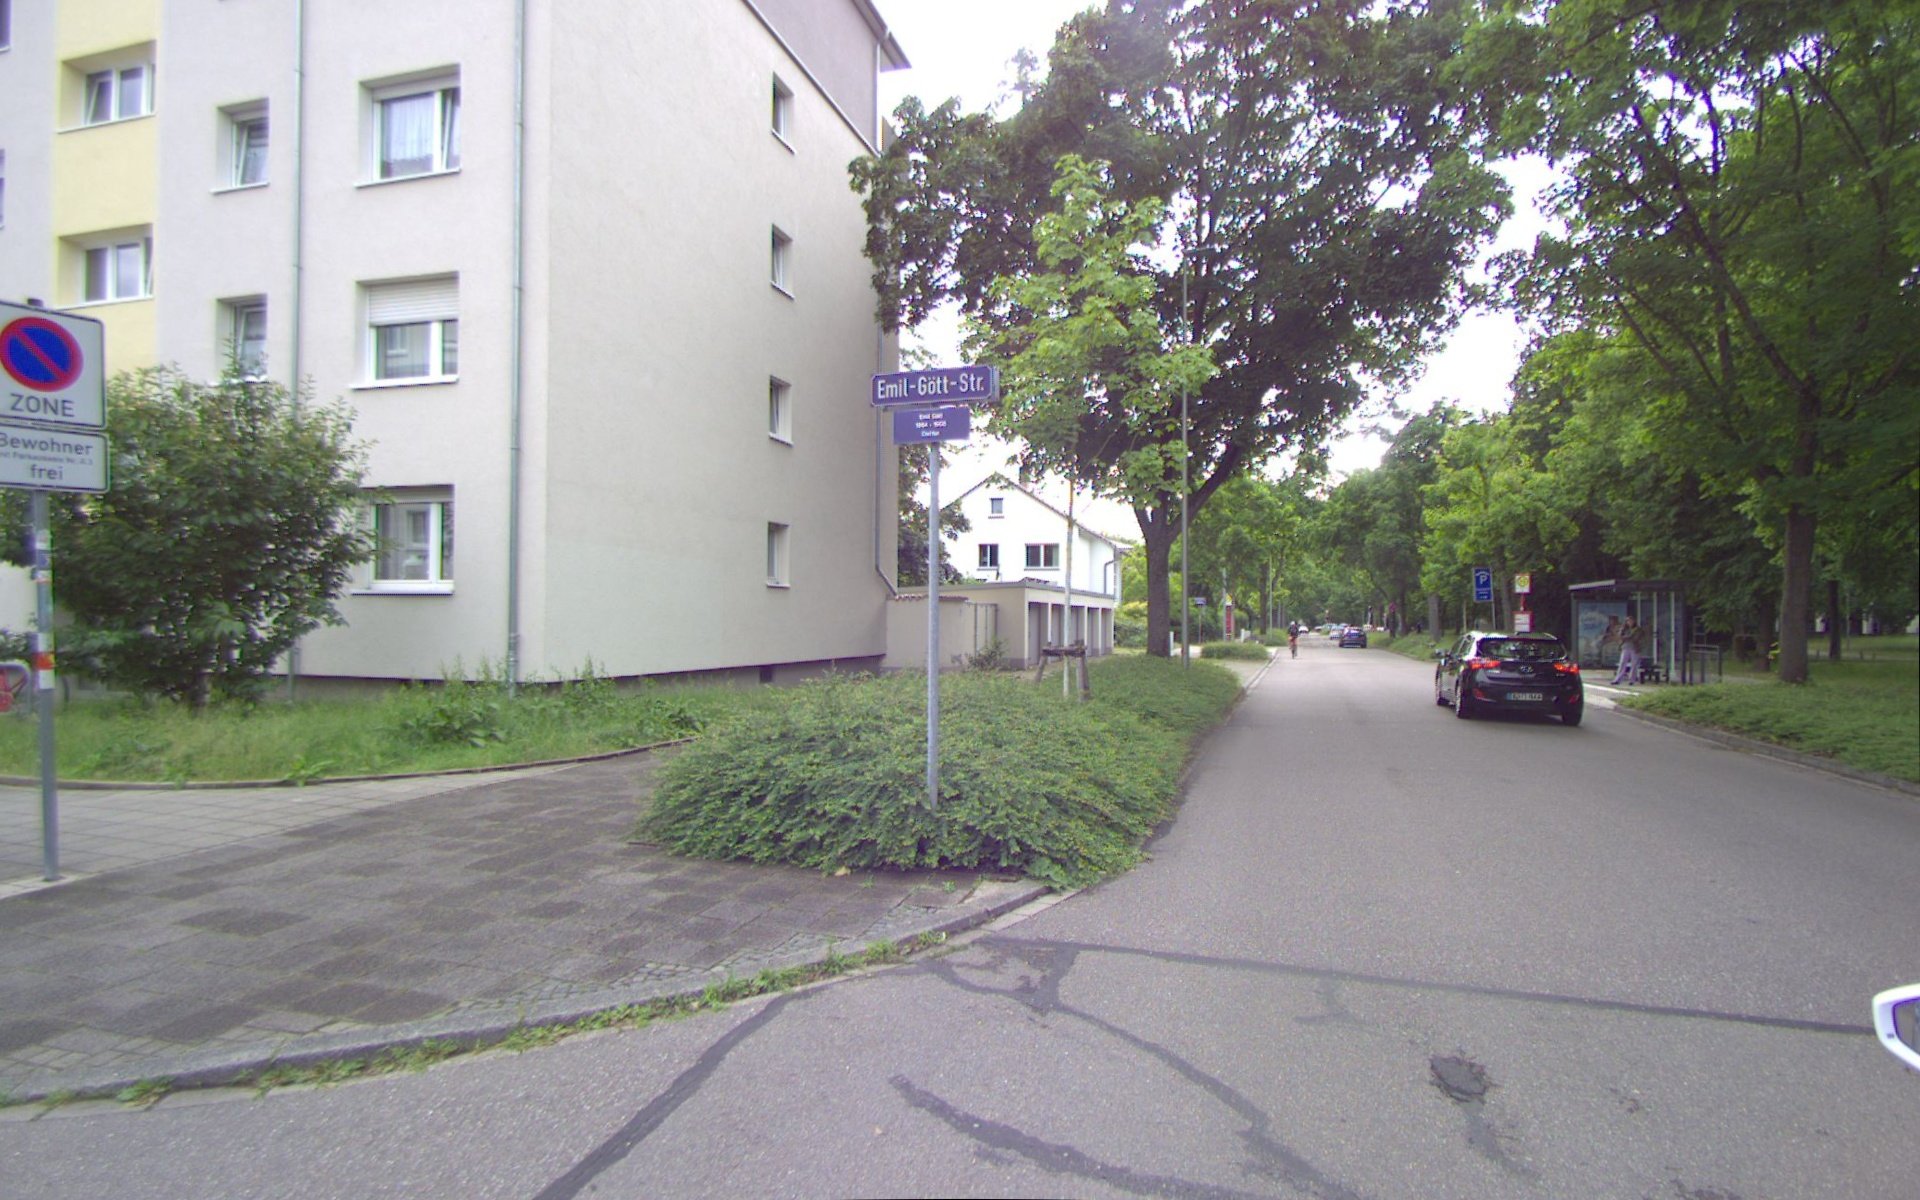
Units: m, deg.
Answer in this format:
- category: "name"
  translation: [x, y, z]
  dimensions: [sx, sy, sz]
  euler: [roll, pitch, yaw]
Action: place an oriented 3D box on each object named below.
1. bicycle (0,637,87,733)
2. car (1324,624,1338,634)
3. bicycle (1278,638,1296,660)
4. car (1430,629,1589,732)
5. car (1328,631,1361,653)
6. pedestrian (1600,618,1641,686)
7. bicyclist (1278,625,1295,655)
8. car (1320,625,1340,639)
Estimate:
- category: "bicycle"
  translation: [-11.609, 0.991, 12.085]
  dimensions: [2.132, 1.084, 0.660]
  euler: [0, -1, 18]
- category: "car"
  translation: [57.727, 4.499, 156.222]
  dimensions: [1.960, 1.505, 4.001]
  euler: [-1, -2, 19]
- category: "bicycle"
  translation: [15.953, 2.376, 49.018]
  dimensions: [0.781, 1.039, 2.564]
  euler: [-1, -1, 19]
- category: "car"
  translation: [9.287, 1.280, 17.285]
  dimensions: [1.815, 1.482, 3.827]
  euler: [0, -1, 20]
- category: "car"
  translation: [27.661, 3.012, 72.378]
  dimensions: [1.833, 1.482, 4.119]
  euler: [0, -1, 16]
- category: "pedestrian"
  translation: [15.876, 1.244, 24.166]
  dimensions: [0.643, 1.604, 0.698]
  euler: [-1, -1, 19]
- category: "bicyclist"
  translation: [15.992, 1.948, 49.149]
  dimensions: [0.771, 1.489, 0.937]
  euler: [-1, -1, 19]
- category: "car"
  translation: [41.376, 3.609, 112.284]
  dimensions: [1.867, 1.505, 4.002]
  euler: [-1, -2, 17]
